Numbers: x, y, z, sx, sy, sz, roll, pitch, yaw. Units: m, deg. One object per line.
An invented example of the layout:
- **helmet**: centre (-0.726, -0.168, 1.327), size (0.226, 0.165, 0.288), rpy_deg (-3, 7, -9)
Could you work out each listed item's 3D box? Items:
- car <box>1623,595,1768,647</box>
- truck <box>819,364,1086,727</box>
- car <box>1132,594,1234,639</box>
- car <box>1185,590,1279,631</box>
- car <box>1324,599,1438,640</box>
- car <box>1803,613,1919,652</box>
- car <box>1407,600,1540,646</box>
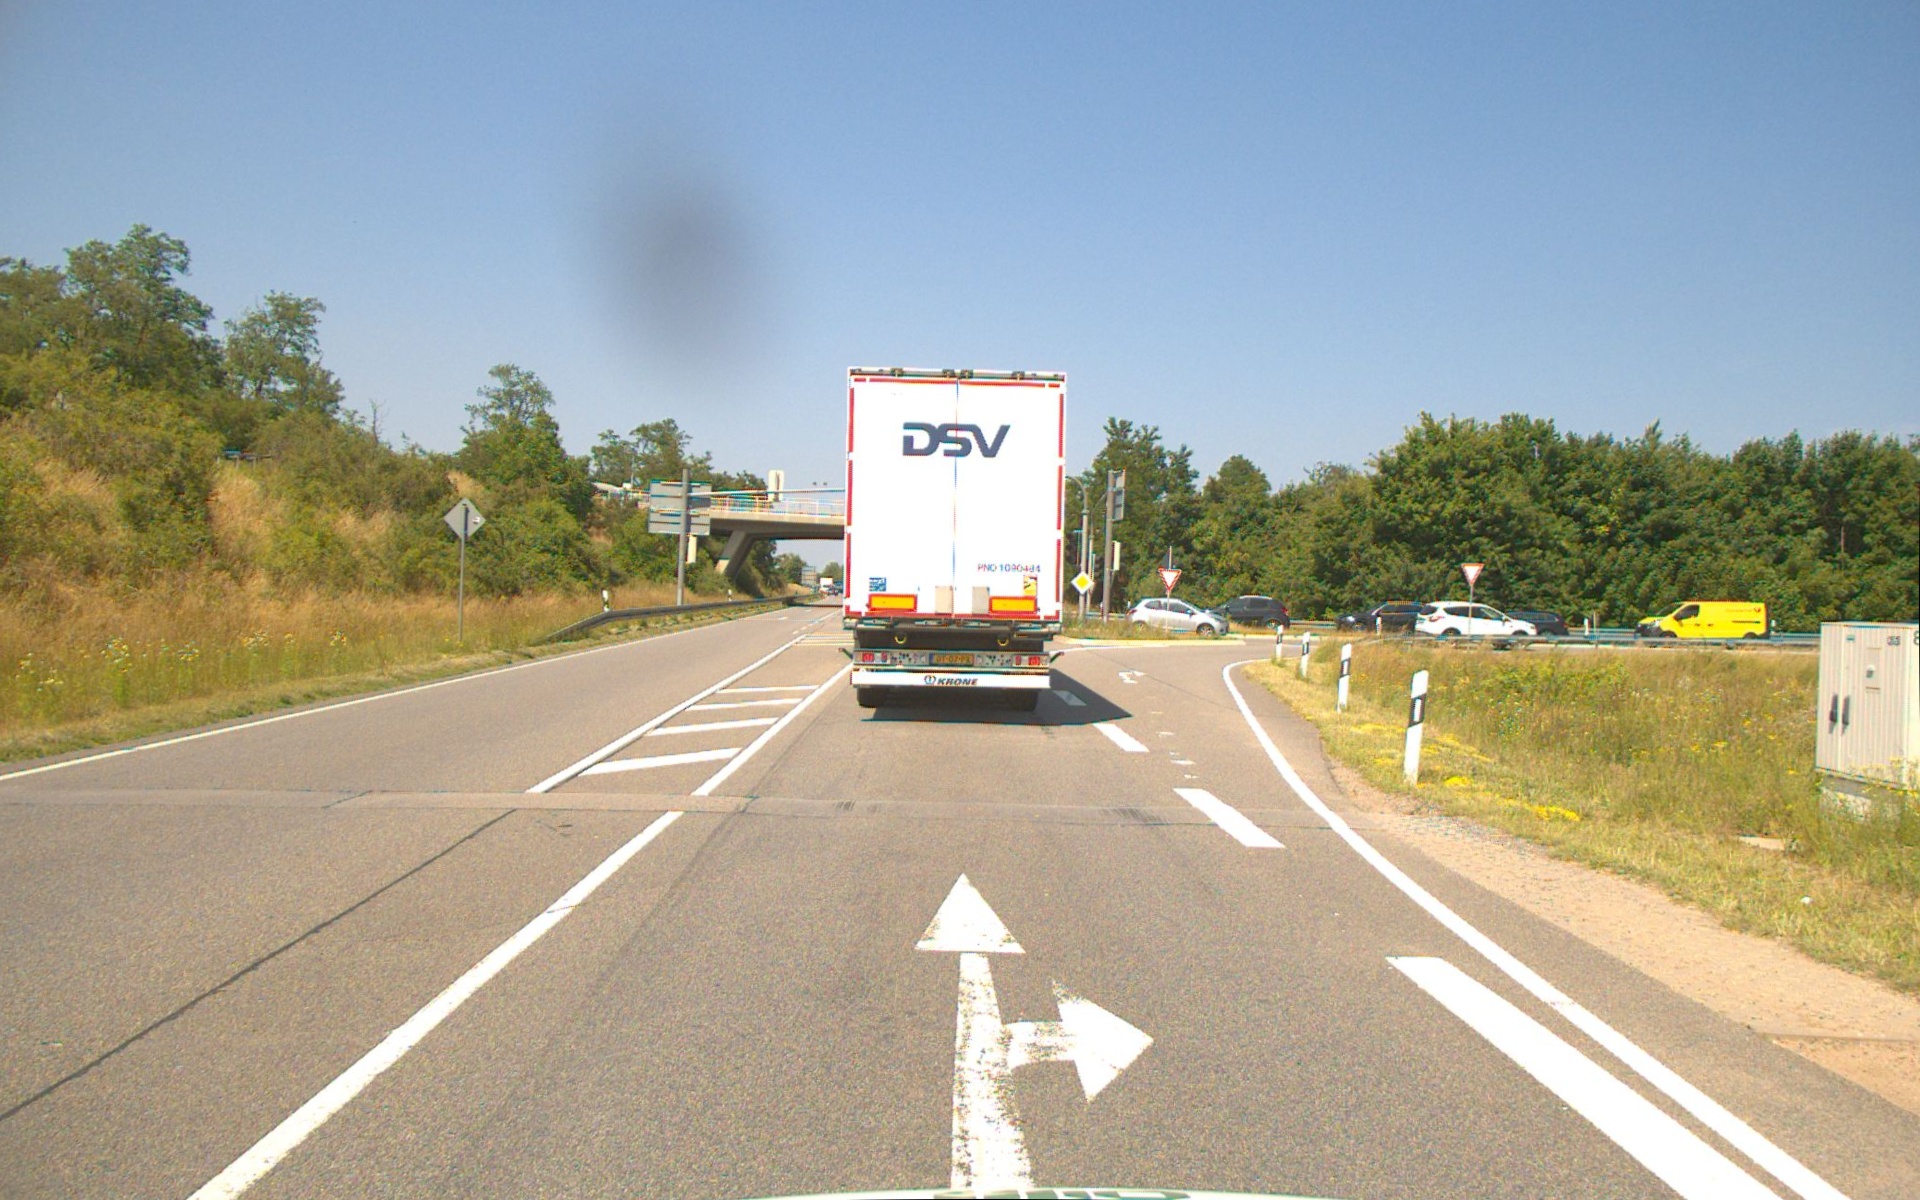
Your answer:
- **car**: centre (31.075, 0.882, 69.951), size (5.213, 2.049, 2.000), rpy_deg (1, -1, 1)
- **truck**: centre (-0.162, -0.608, 23.538), size (2.927, 4.011, 9.873), rpy_deg (1, 0, -1)
- **car**: centre (8.334, 0.610, 61.819), size (3.603, 1.594, 1.741), rpy_deg (1, -1, 13)
- **car**: centre (11.836, 0.449, 72.244), size (3.901, 1.668, 1.842), rpy_deg (1, -1, 5)
- **car**: centre (17.865, 0.829, 70.252), size (4.393, 1.626, 1.768), rpy_deg (1, -1, 2)
- **car**: centre (38.484, 1.362, 70.078), size (4.585, 1.540, 1.853), rpy_deg (1, -1, 2)
- **car**: centre (19.007, 0.837, 61.340), size (4.381, 1.594, 1.737), rpy_deg (1, -1, -5)
